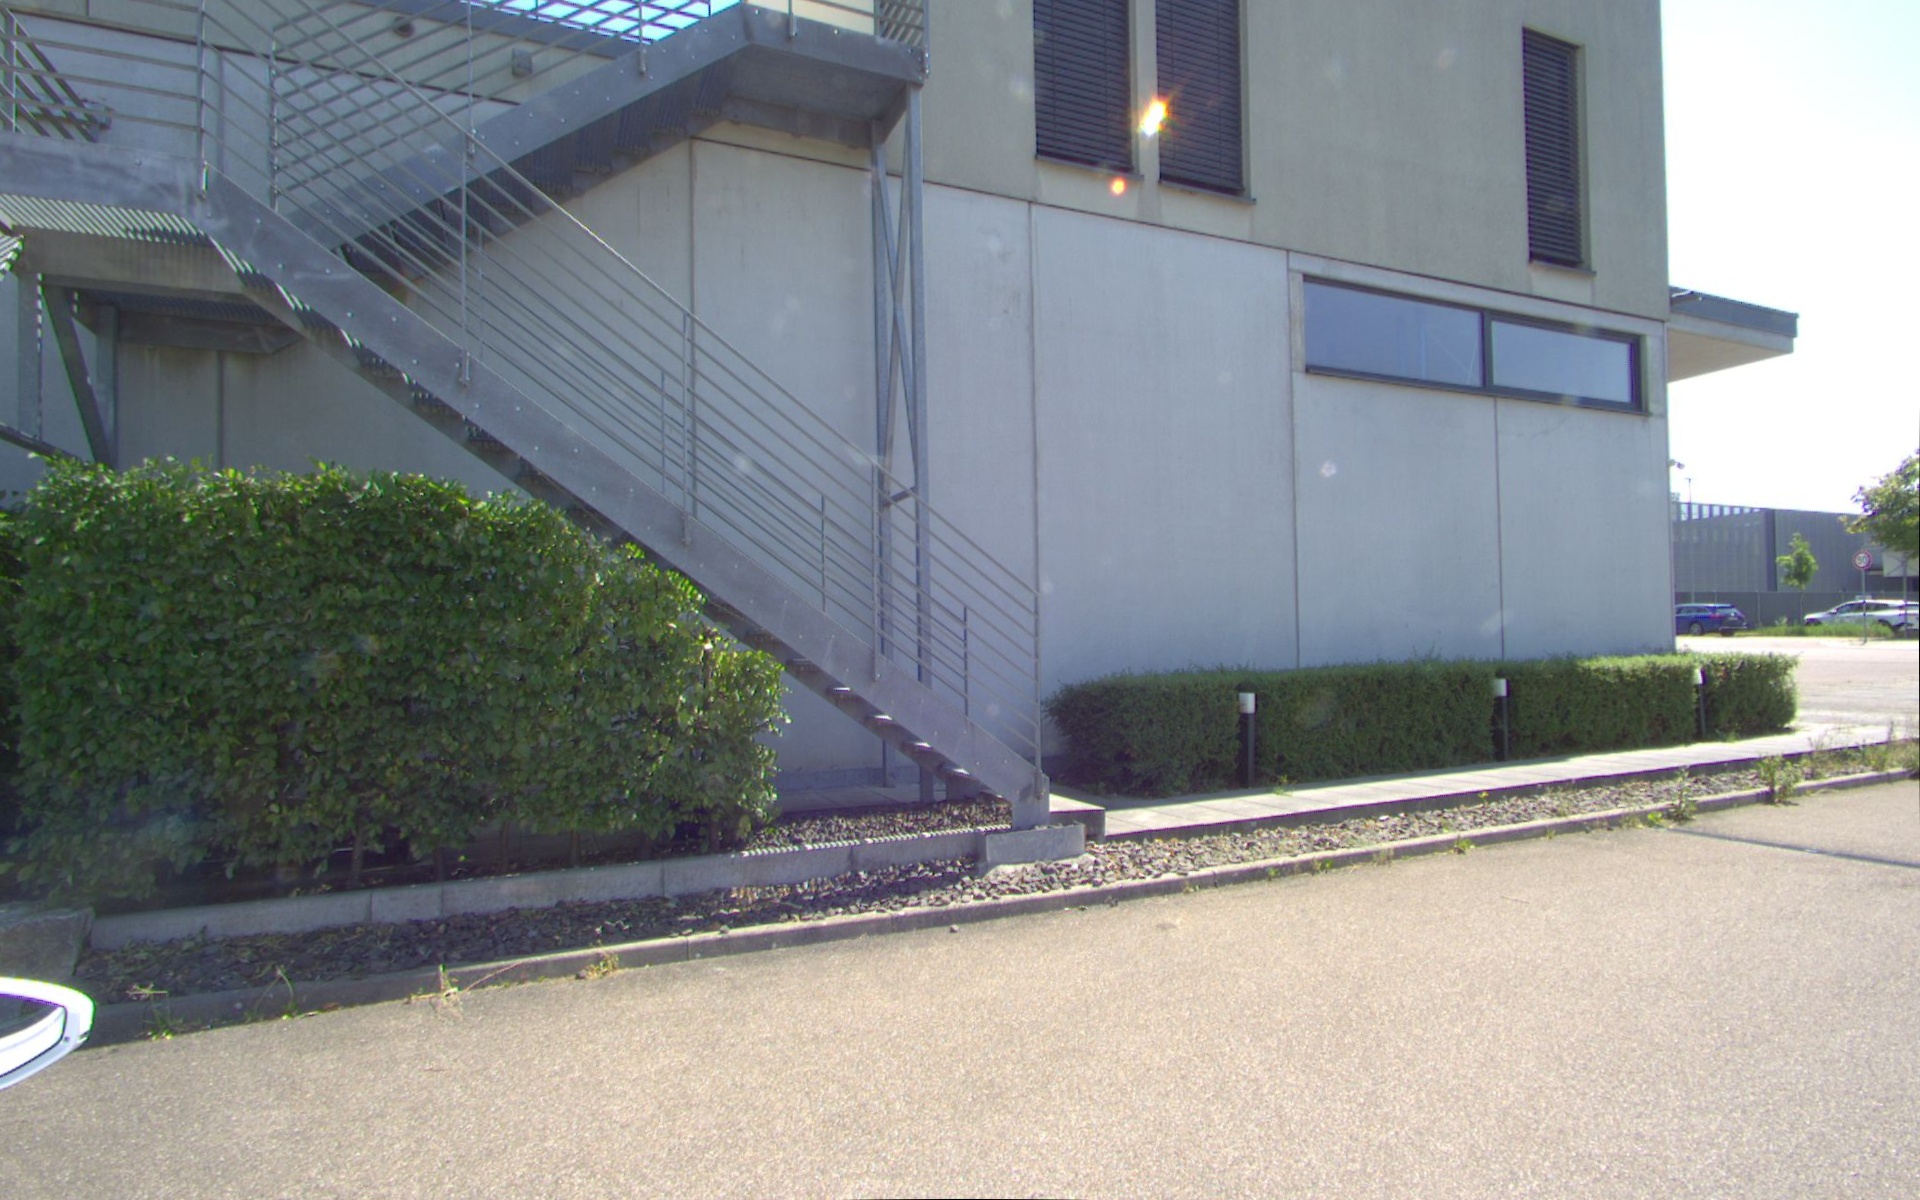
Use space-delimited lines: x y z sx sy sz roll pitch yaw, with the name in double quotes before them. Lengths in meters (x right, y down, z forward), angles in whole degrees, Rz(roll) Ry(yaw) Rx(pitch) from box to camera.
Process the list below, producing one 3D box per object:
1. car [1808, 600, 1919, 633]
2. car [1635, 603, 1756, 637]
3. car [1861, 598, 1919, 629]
"car" 42.607 0.810 46.785 1.717 1.433 4.446 1 -2 -11
"car" 33.078 0.938 45.199 1.717 1.433 4.446 1 -2 -10
"car" 45.374 0.648 47.220 1.717 1.433 4.064 1 -2 -11
